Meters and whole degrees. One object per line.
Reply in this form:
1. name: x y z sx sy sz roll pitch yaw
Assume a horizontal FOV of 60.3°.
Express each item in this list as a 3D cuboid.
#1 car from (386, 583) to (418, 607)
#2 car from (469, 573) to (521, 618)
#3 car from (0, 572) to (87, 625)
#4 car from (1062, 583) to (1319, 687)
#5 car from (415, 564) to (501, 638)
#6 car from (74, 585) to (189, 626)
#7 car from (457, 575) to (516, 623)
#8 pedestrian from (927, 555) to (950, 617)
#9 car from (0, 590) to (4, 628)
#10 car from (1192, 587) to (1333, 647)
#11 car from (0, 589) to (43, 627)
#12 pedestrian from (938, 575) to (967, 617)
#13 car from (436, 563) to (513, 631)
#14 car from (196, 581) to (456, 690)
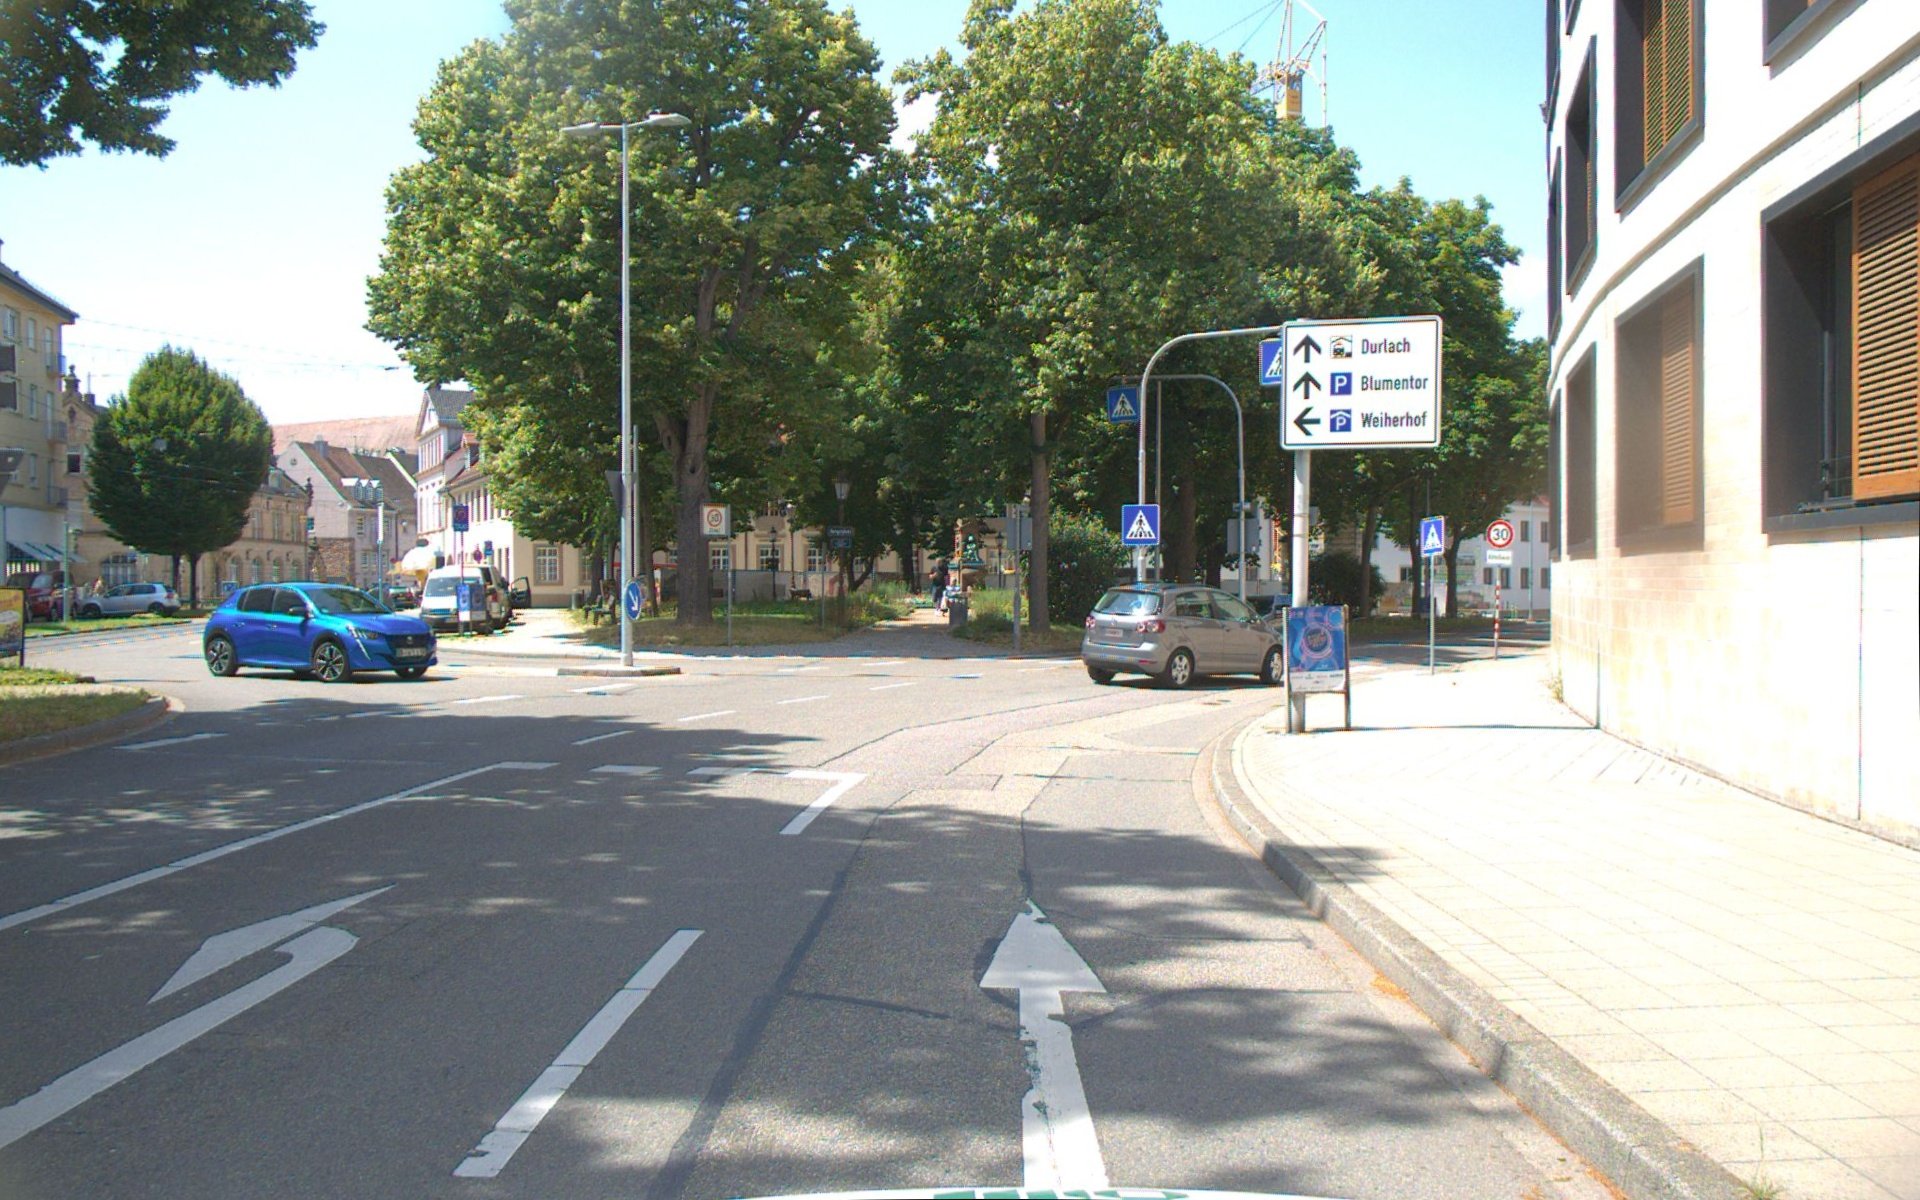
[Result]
1. car: -35.697 -0.313 105.763 1.833 1.512 3.976 0 1 -21
2. car: -18.570 -0.215 66.184 1.752 1.723 4.187 0 1 -13
3. car: -36.271 -0.084 65.551 1.822 1.944 4.753 -2 1 -14
4. car: 3.803 0.516 26.944 4.205 1.560 1.881 0 0 -41
5. car: -13.240 -0.008 43.824 1.960 1.858 4.405 0 1 -15
6. car: -35.852 0.214 71.658 4.139 1.531 1.993 -3 1 -19
7. car: -16.937 -0.072 59.328 1.752 1.652 4.471 0 1 -13
8. pedestrian: -0.683 -0.447 52.779 0.732 1.944 0.684 0 2 1
9. car: -34.092 0.372 56.409 1.575 1.300 3.573 -2 1 -14
10. car: 8.150 0.411 44.284 1.712 1.514 4.382 1 1 41
11. car: -35.148 0.297 60.632 1.614 1.300 4.248 -3 1 -14
12. pedestrian: -0.235 -0.135 51.943 0.887 1.273 1.148 0 2 1
13. car: -15.263 -0.134 52.219 2.014 2.037 5.232 0 1 -13
14. car: -9.828 0.488 25.580 3.916 1.518 1.811 1 2 33
